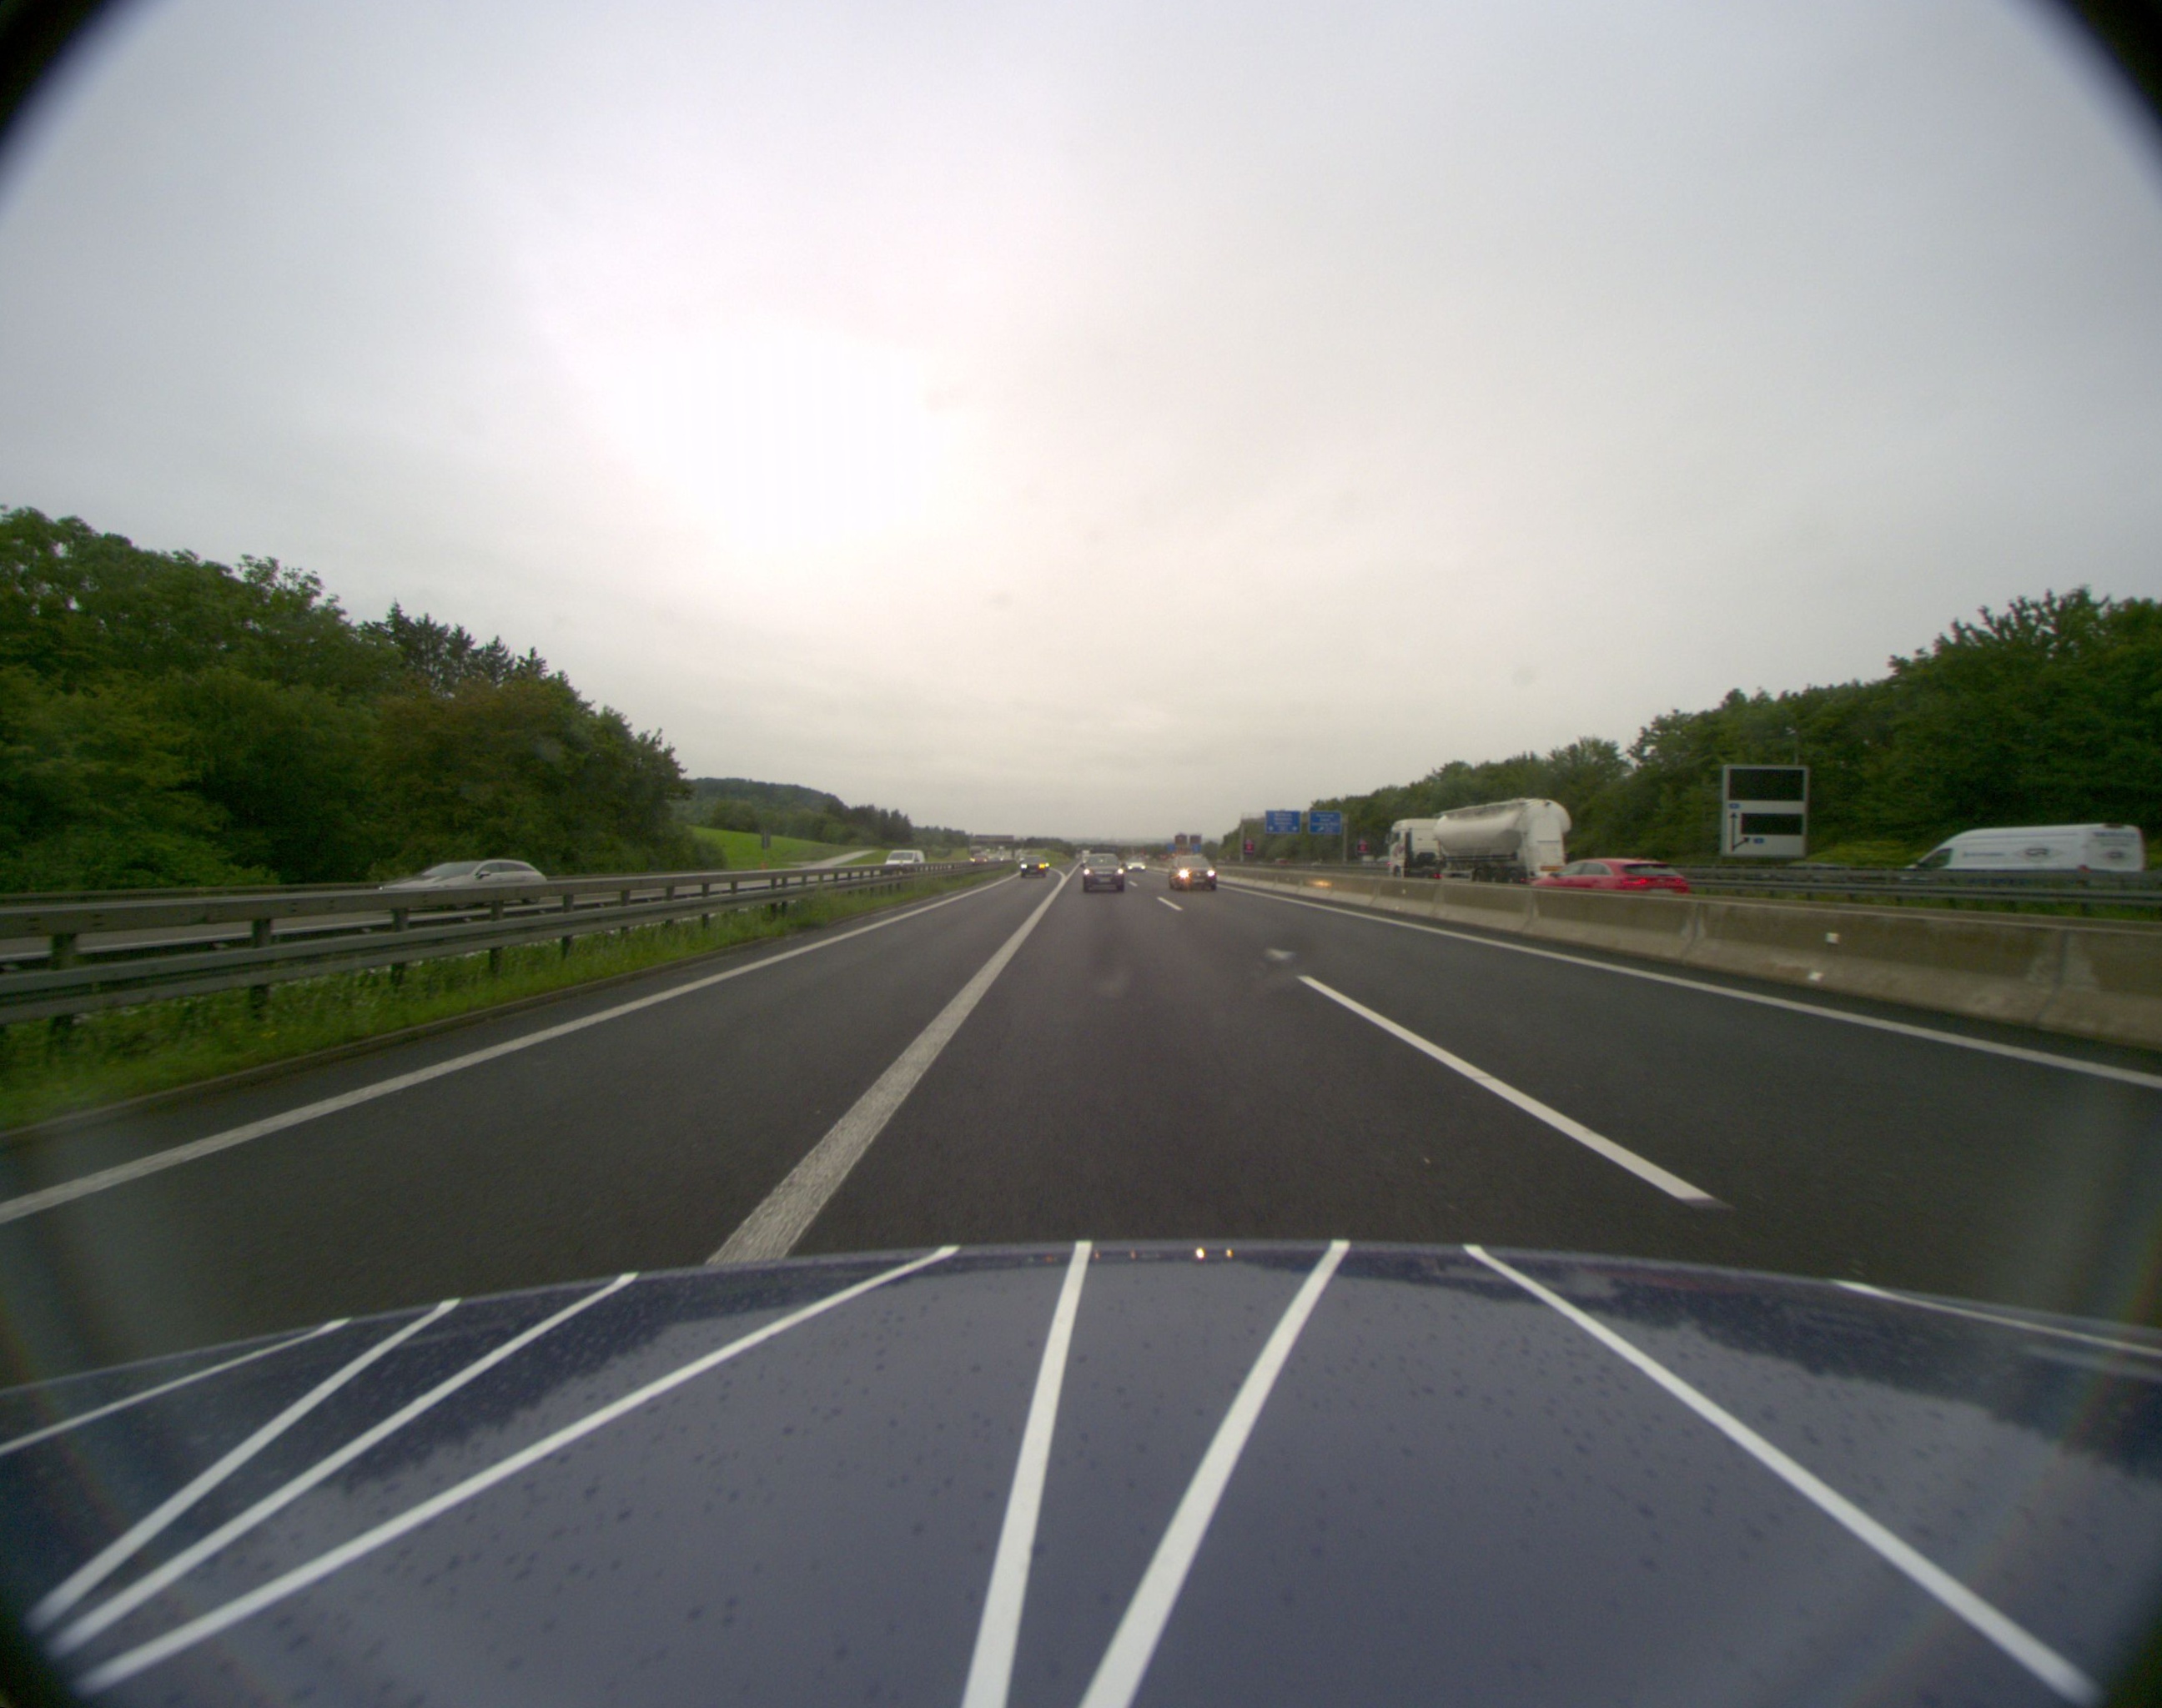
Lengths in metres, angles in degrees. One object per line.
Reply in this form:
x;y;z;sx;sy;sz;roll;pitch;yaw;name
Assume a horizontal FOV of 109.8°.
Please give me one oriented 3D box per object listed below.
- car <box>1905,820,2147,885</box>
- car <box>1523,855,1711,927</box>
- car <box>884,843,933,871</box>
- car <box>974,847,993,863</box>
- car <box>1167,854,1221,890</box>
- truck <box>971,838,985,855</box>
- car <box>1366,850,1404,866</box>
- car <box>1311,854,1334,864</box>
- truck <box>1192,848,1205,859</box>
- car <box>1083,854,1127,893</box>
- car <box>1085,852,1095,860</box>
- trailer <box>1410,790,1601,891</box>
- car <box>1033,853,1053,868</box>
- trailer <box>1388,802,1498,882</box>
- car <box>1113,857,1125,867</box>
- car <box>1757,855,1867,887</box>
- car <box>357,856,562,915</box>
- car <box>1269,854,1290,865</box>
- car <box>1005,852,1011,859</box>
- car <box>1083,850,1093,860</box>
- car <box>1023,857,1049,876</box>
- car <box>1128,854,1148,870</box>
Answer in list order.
32.425;-0.083;26.407;1.878;2.002;5.298;-1;1;1;car
13.499;0.850;19.514;1.813;1.571;4.355;-1;1;1;car
-11.166;0.172;49.481;1.913;1.684;4.719;-1;1;2;car
-13.248;0.123;103.590;2.130;2.002;5.075;-1;1;-2;car
4.984;0.751;34.036;1.726;1.481;4.567;-1;1;0;car
-24.329;-1.827;179.841;2.800;3.878;10.023;-1;1;-4;truck
29.263;0.322;73.269;1.823;1.448;4.257;-1;1;-1;car
37.133;0.704;116.968;1.823;1.448;4.777;-1;1;-1;car
40.537;-0.185;262.702;3.082;3.856;9.634;-1;1;1;truck
1.023;0.808;33.536;1.813;1.571;3.834;-1;1;0;car
1.815;0.401;157.576;1.919;1.481;4.566;-1;1;-1;car
18.127;-0.531;33.664;2.643;3.714;10.811;-1;1;2;trailer
-4.253;0.692;85.046;1.885;1.519;4.000;-1;1;1;car
18.299;-0.580;38.912;2.643;3.694;6.491;-1;1;2;trailer
6.627;1.365;131.684;1.726;1.481;4.566;-1;1;-1;car
36.383;0.797;37.982;1.680;1.448;4.000;-1;1;0;car
-17.642;0.823;21.954;1.903;1.446;4.710;-1;1;2;car
29.737;0.821;113.715;1.823;1.448;4.567;-1;1;-2;car
-23.161;0.391;239.551;1.753;2.002;4.495;-1;1;-7;car
1.486;0.180;164.077;2.016;1.994;4.566;-1;1;-1;car
-3.524;0.949;60.231;1.867;1.349;4.566;-1;1;-1;car
5.775;0.821;77.825;1.726;1.481;4.567;-1;1;0;car
